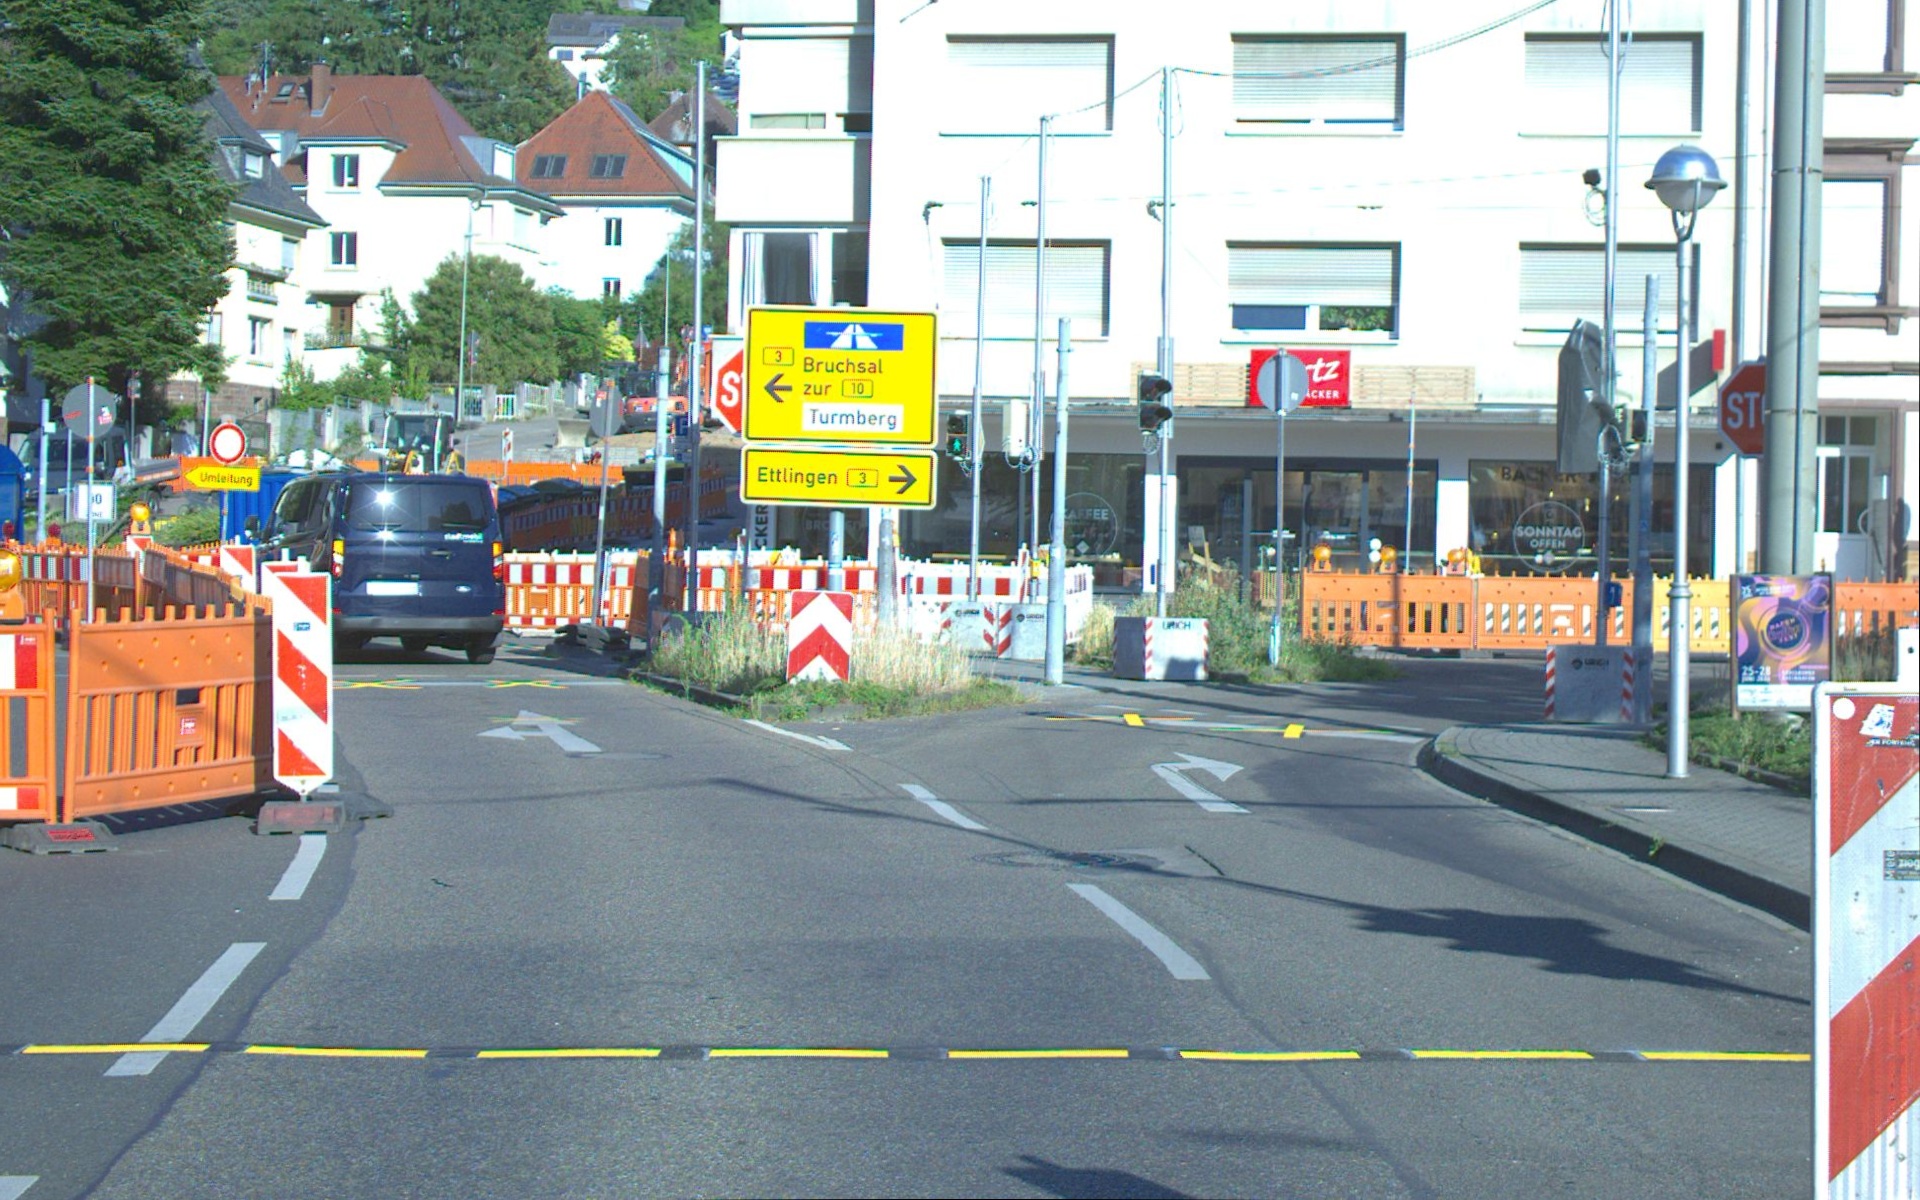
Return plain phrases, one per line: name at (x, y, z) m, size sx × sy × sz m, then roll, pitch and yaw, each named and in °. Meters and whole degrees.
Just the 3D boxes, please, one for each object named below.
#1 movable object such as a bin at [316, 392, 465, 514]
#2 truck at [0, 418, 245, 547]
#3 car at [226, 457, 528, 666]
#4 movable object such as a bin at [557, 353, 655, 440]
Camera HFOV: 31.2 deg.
movable object such as a bin at (-13.222, -3.389, 80.047) m, size 2.191 × 2.681 × 3.998 m, roll 1°, pitch 1°, yaw 10°
truck at (-17.373, -2.304, 69.484) m, size 2.357 × 2.407 × 9.148 m, roll 2°, pitch 1°, yaw 11°
car at (-6.337, -0.466, 36.858) m, size 2.061 × 2.006 × 5.002 m, roll 1°, pitch 2°, yaw -23°
movable object such as a bin at (-11.779, -6.765, 114.570) m, size 2.191 × 2.681 × 3.998 m, roll 1°, pitch 1°, yaw 10°
